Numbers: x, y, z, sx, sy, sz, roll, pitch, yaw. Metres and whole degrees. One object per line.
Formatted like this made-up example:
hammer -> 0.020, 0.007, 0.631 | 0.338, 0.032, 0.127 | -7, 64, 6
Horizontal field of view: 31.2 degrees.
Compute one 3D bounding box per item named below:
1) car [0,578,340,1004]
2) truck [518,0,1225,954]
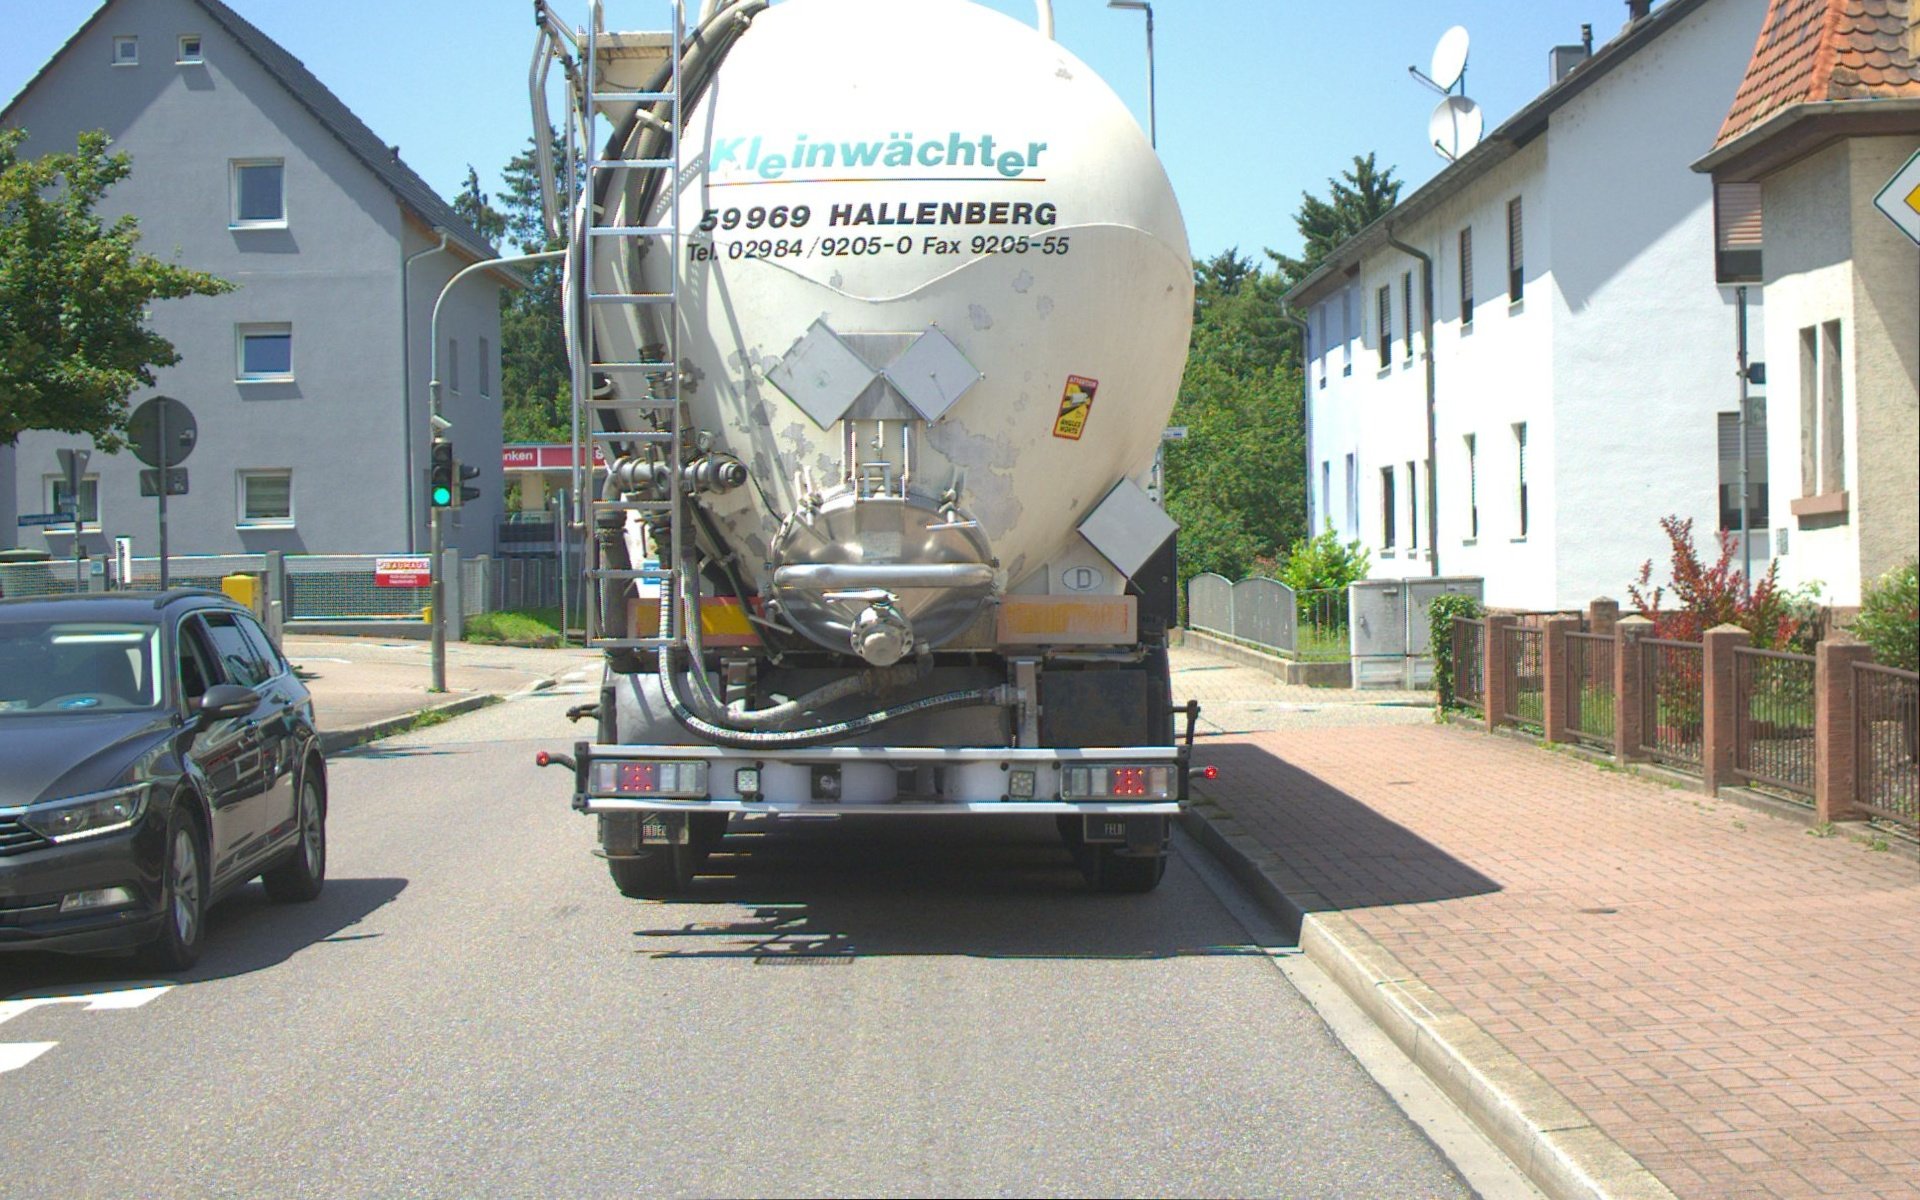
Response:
car -> -3.832, 0.688, 14.190 | 1.784, 1.451, 4.258 | -3, 1, -1
truck -> -0.365, -0.734, 17.635 | 2.641, 4.002, 9.562 | 0, 1, 0
